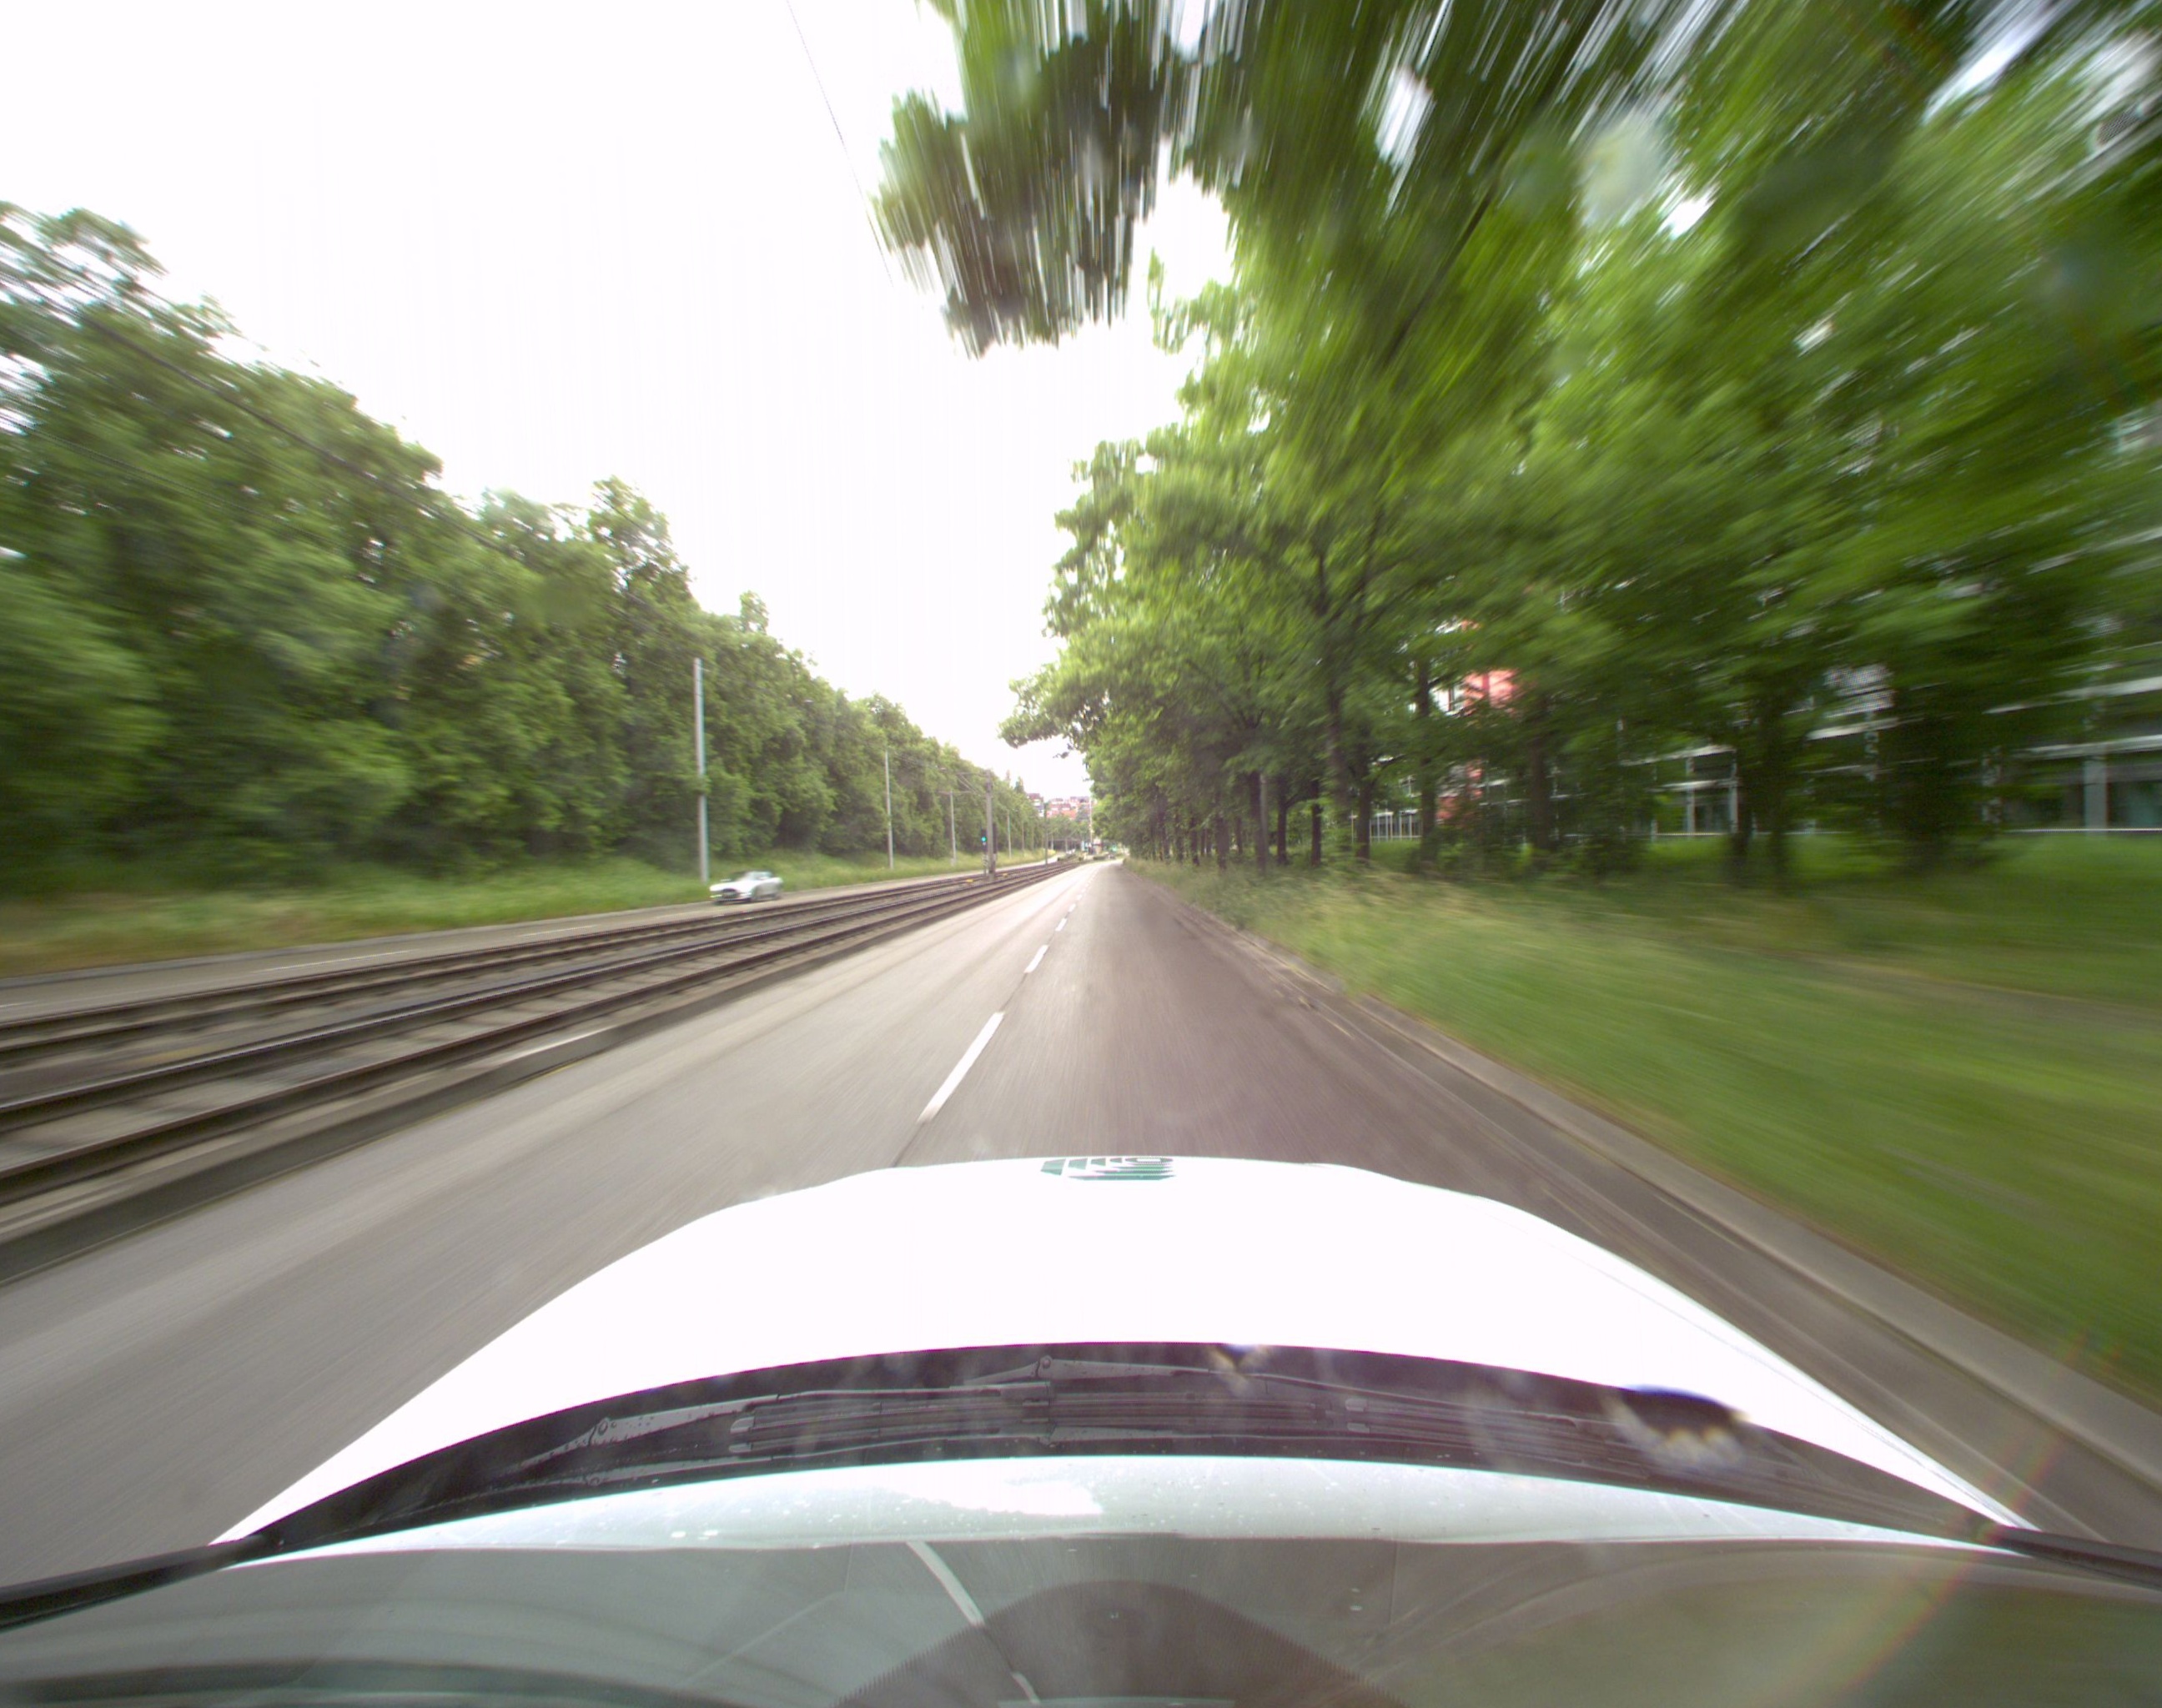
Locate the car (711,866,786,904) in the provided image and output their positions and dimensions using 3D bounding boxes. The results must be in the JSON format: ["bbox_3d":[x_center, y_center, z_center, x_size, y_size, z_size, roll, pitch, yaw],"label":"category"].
[{"bbox_3d":[-14.458,1.323,35.615,1.470,1.436,3.911,-3,0,2],"label":"car"}]
